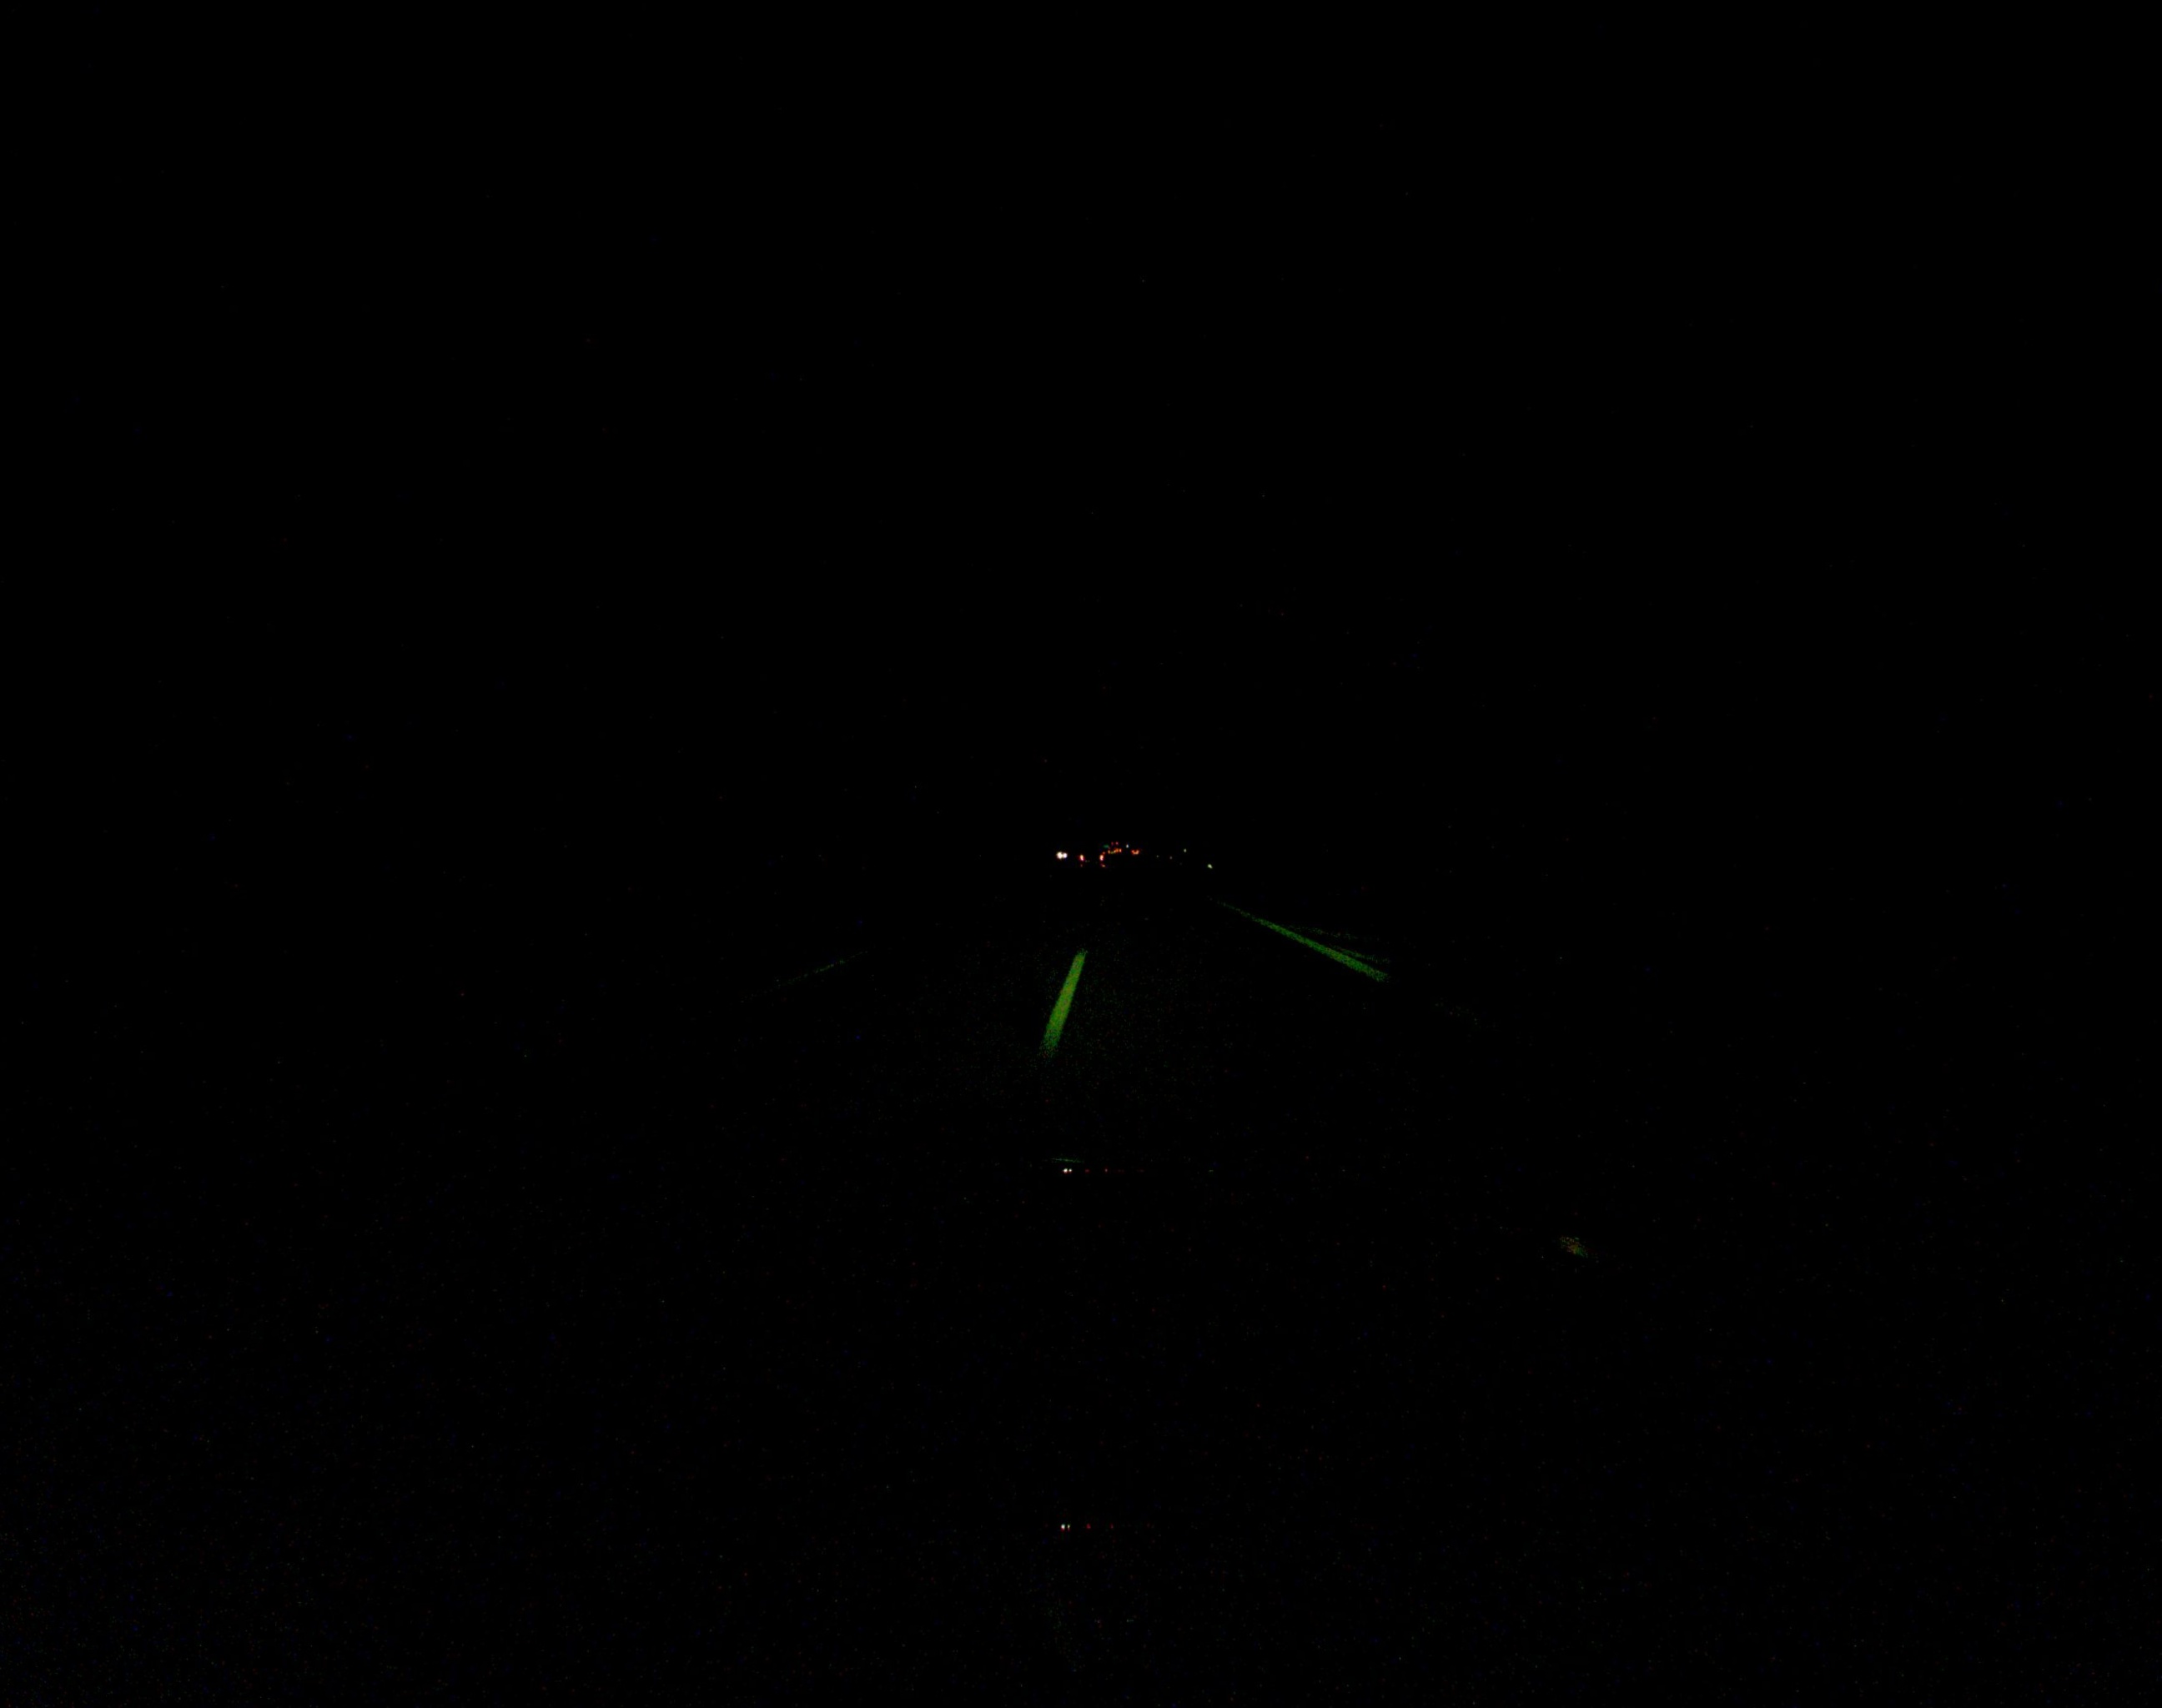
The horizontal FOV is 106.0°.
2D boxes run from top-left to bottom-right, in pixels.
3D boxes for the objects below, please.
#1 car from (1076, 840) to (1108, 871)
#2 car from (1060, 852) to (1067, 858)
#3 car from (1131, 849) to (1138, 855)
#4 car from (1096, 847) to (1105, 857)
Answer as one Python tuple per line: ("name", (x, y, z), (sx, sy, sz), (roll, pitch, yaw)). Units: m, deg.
("car", (1.088, 0.105, 76.761), (2.776, 2.733, 6.303), (-1, 0, 2))
("car", (-5.405, 0.268, 255.252), (1.925, 1.604, 4.956), (-2, 0, 2))
("car", (15.380, -0.547, 235.091), (1.836, 1.640, 4.002), (-2, 1, 2))
("car", (6.070, -0.624, 255.867), (2.777, 2.734, 6.299), (-1, -2, 1))
